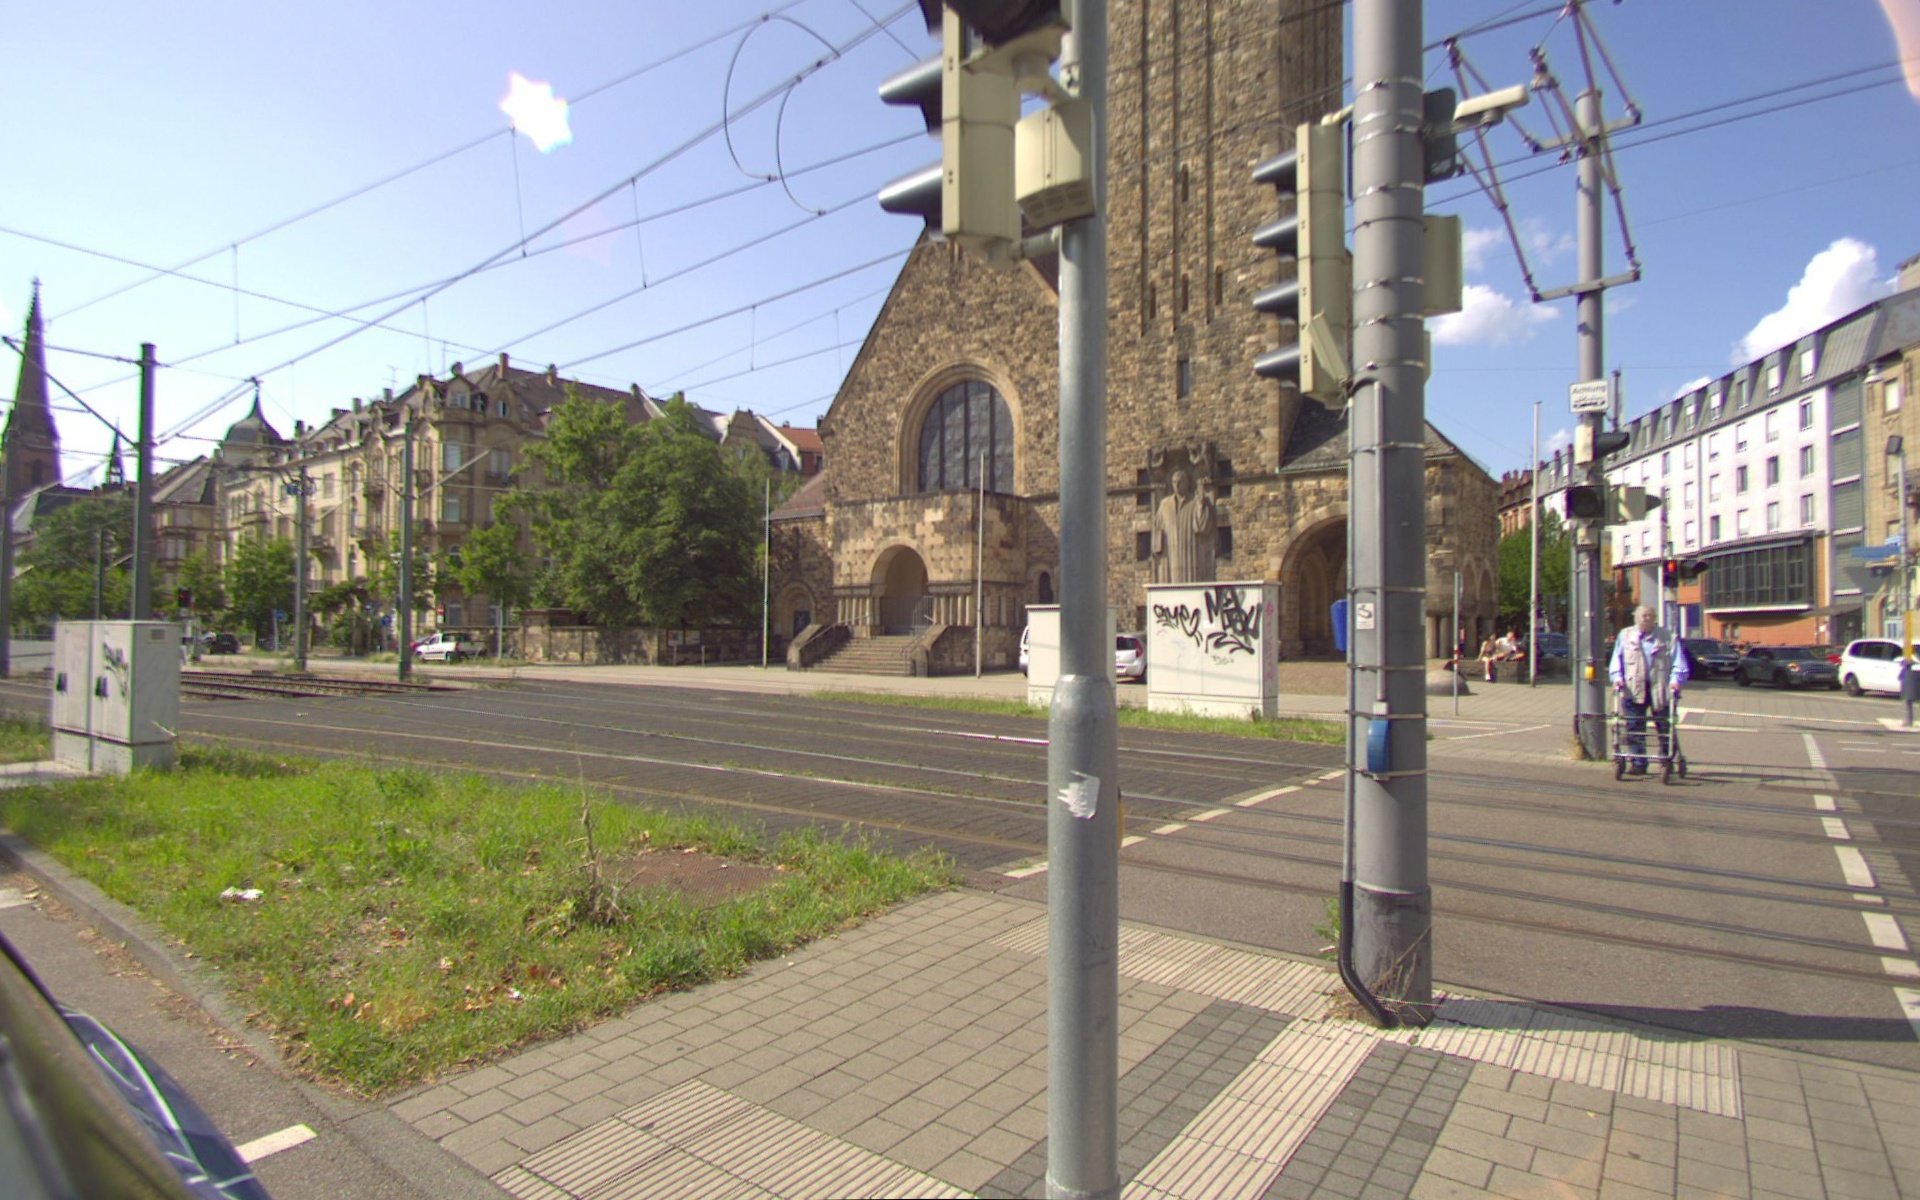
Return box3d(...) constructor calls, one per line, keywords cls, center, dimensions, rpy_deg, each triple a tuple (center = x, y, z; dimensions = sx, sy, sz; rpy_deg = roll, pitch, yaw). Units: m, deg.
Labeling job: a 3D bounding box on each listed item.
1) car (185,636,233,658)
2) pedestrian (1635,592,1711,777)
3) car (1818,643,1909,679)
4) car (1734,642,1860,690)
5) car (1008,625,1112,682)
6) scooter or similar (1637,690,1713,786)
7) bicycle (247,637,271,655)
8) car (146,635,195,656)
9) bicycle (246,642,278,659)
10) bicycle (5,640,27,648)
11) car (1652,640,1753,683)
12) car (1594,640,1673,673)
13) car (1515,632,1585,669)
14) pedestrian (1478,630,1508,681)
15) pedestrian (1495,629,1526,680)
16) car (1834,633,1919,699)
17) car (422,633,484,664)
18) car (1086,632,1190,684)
box3d(cls="car", center=(-53.506, 3.307, 72.091), dimensions=(4.703, 1.514, 1.669), rpy_deg=(-1, -2, 39))
box3d(cls="pedestrian", center=(6.992, 0.806, 9.945), dimensions=(0.556, 1.746, 0.522), rpy_deg=(-1, -3, 33))
box3d(cls="car", center=(40.376, 2.710, 45.238), dimensions=(3.511, 1.407, 1.611), rpy_deg=(-1, -2, -23))
box3d(cls="car", center=(27.738, 2.133, 33.690), dimensions=(1.657, 1.462, 3.721), rpy_deg=(0, -2, 12))
box3d(cls="car", center=(3.526, 1.820, 35.068), dimensions=(1.860, 1.838, 3.966), rpy_deg=(-1, -2, 36))
box3d(cls="scooter or similar", center=(6.756, 1.283, 9.594), dimensions=(0.552, 0.810, 0.831), rpy_deg=(-1, -2, 34))
box3d(cls="bicycle", center=(-52.357, 3.418, 75.574), dimensions=(2.939, 1.258, 0.651), rpy_deg=(-2, 0, 39))
box3d(cls="car", center=(-61.229, 3.535, 78.453), dimensions=(4.479, 1.538, 1.783), rpy_deg=(-1, -1, 35))
box3d(cls="bicycle", center=(-46.095, 3.329, 66.829), dimensions=(0.470, 1.077, 1.692), rpy_deg=(-1, -3, 32))
box3d(cls="bicycle", center=(-110.585, 5.154, 118.580), dimensions=(0.602, 0.909, 1.800), rpy_deg=(-1, 0, 35))
box3d(cls="car", center=(29.665, 2.406, 40.569), dimensions=(1.686, 1.609, 4.056), rpy_deg=(0, -2, 12))
box3d(cls="car", center=(30.773, 2.551, 46.382), dimensions=(1.686, 1.401, 3.846), rpy_deg=(0, -2, 12))
box3d(cls="car", center=(29.053, 2.476, 49.963), dimensions=(1.797, 1.677, 4.055), rpy_deg=(-1, -1, 13))
box3d(cls="pedestrian", center=(15.555, 1.621, 29.528), dimensions=(0.550, 1.417, 0.518), rpy_deg=(-1, 4, -8))
box3d(cls="pedestrian", center=(16.109, 1.590, 29.606), dimensions=(0.550, 1.417, 0.518), rpy_deg=(-1, 4, -8))
box3d(cls="car", center=(26.486, 1.783, 27.702), dimensions=(1.796, 1.753, 4.645), rpy_deg=(0, -2, 12))
box3d(cls="car", center=(-24.984, 2.369, 49.816), dimensions=(1.648, 1.427, 3.848), rpy_deg=(5, -4, -43))
box3d(cls="car", center=(5.774, 1.825, 32.536), dimensions=(1.795, 1.559, 3.732), rpy_deg=(-1, -2, 37))
